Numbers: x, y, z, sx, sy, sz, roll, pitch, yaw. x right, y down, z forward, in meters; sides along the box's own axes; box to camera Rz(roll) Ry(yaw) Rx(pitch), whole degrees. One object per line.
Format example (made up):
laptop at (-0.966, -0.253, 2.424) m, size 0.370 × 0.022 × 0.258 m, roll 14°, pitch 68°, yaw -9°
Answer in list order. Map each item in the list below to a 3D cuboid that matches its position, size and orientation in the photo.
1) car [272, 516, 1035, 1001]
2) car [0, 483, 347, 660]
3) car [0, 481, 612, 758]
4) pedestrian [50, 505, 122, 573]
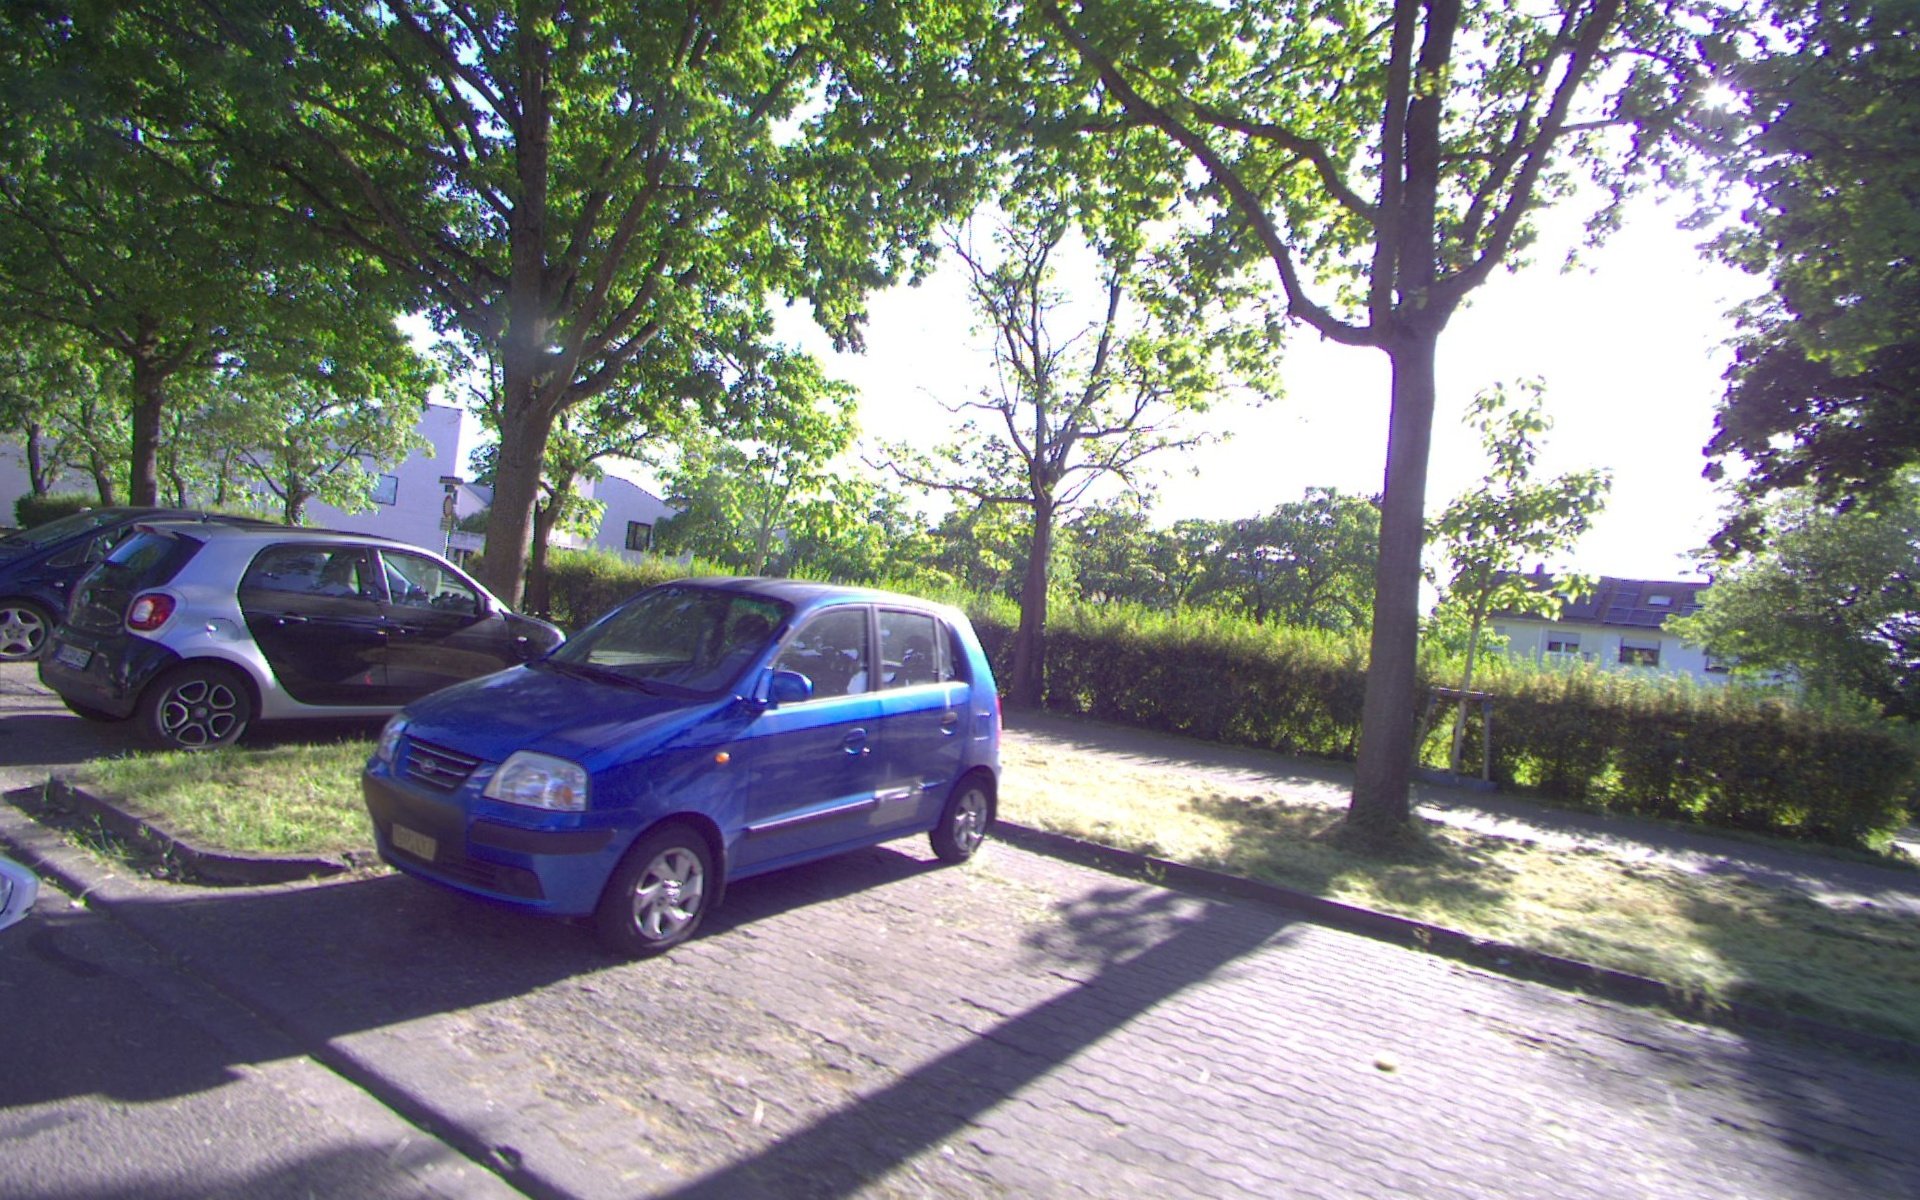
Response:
car at (-1.223, 0.609, 5.300) m, size 1.638 × 1.551 × 3.524 m, roll 7°, pitch 0°, yaw 32°
car at (-8.940, -0.283, 10.721) m, size 1.826 × 1.596 × 3.588 m, roll 7°, pitch 0°, yaw 30°
car at (-4.880, 0.177, 7.978) m, size 1.757 × 1.596 × 3.586 m, roll 7°, pitch 0°, yaw 32°
pedestrian at (-21.455, -1.477, 24.714) m, size 0.870 × 1.519 × 0.941 m, roll 7°, pitch 1°, yaw -11°
